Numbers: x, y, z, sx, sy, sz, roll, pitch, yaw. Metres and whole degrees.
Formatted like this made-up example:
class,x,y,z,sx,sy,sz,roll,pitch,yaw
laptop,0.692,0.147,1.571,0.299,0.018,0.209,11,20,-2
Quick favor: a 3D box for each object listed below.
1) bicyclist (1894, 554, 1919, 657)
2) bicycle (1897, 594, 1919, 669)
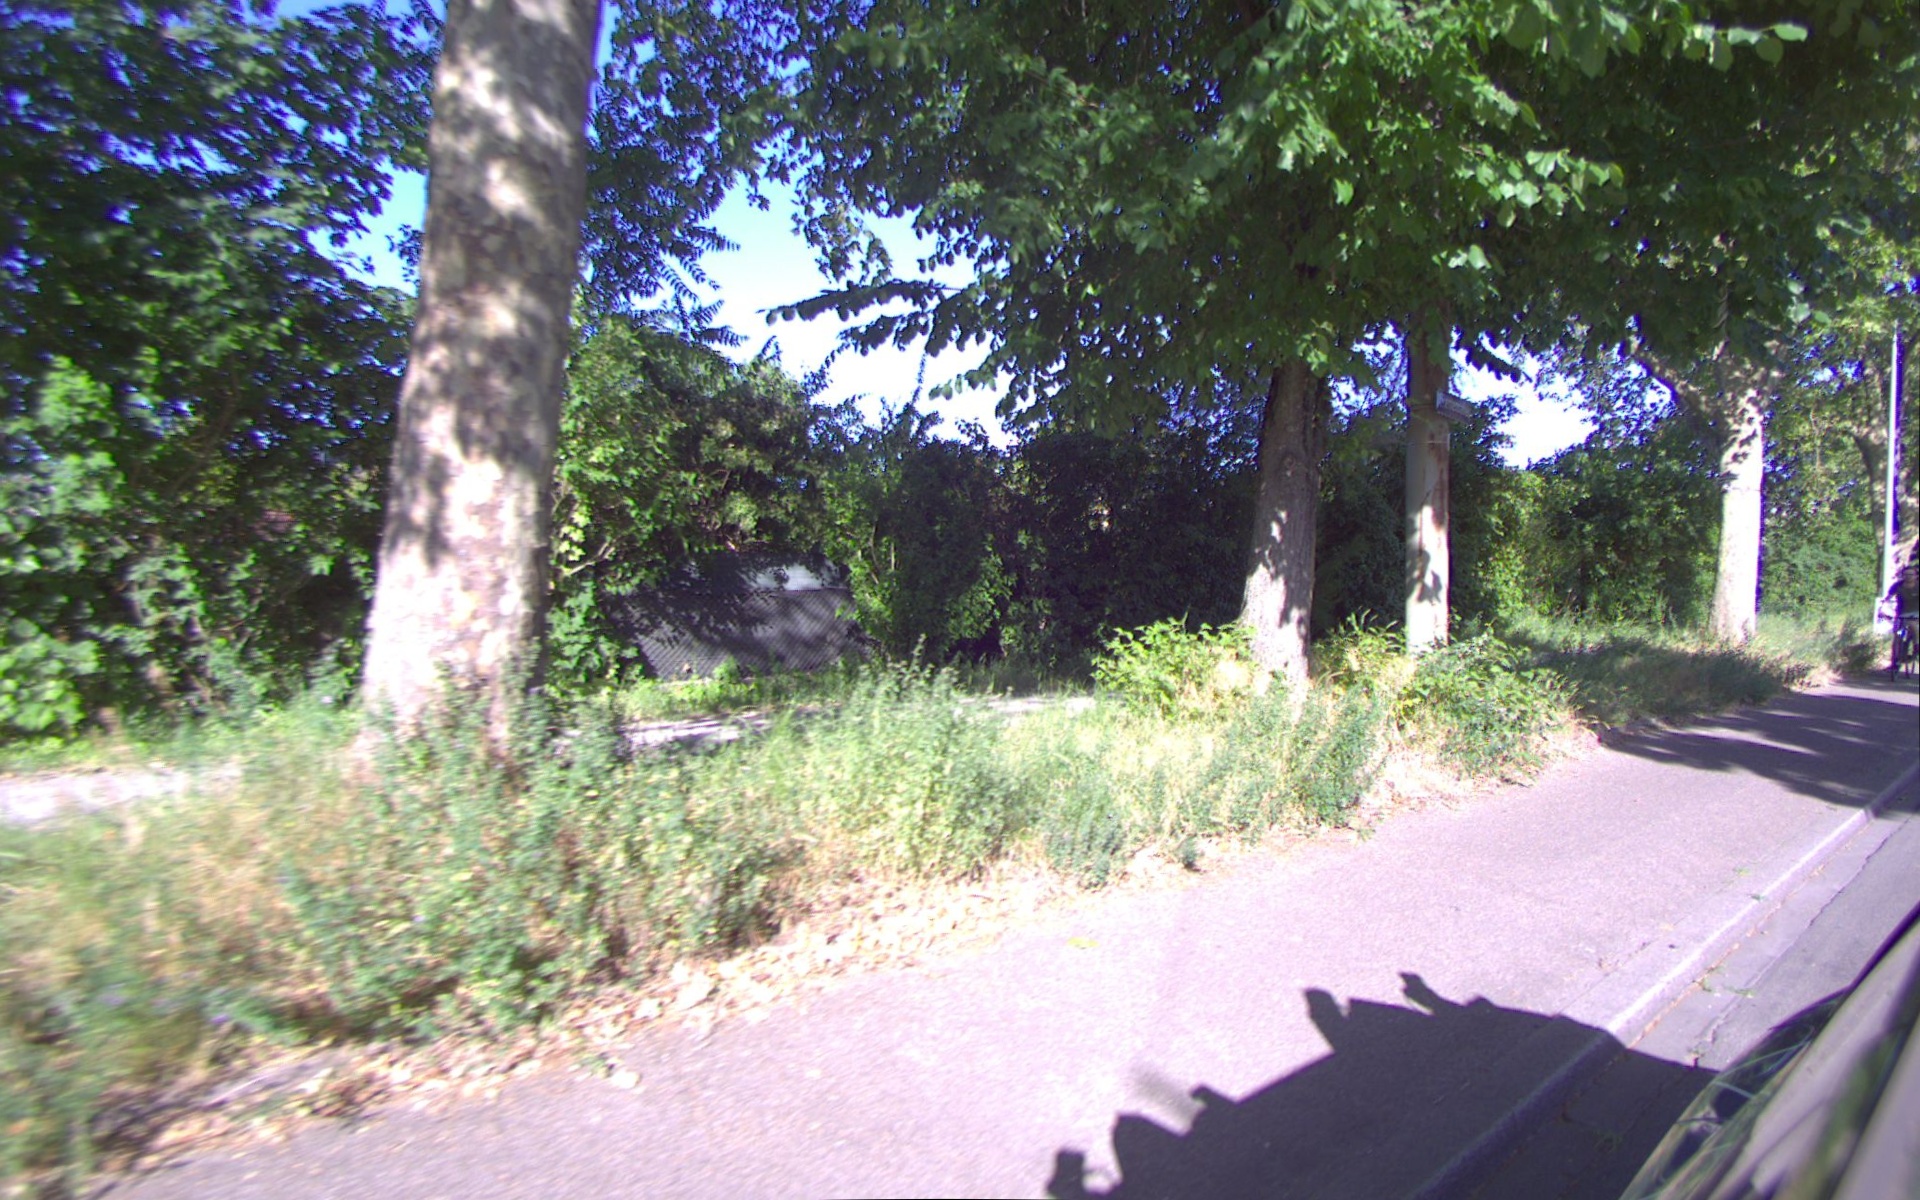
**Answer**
class,x,y,z,sx,sy,sz,roll,pitch,yaw
bicyclist,15.645,0.081,16.405,0.893,1.649,0.614,0,1,-41
bicycle,15.635,0.491,16.405,1.791,1.167,0.441,0,1,-41
